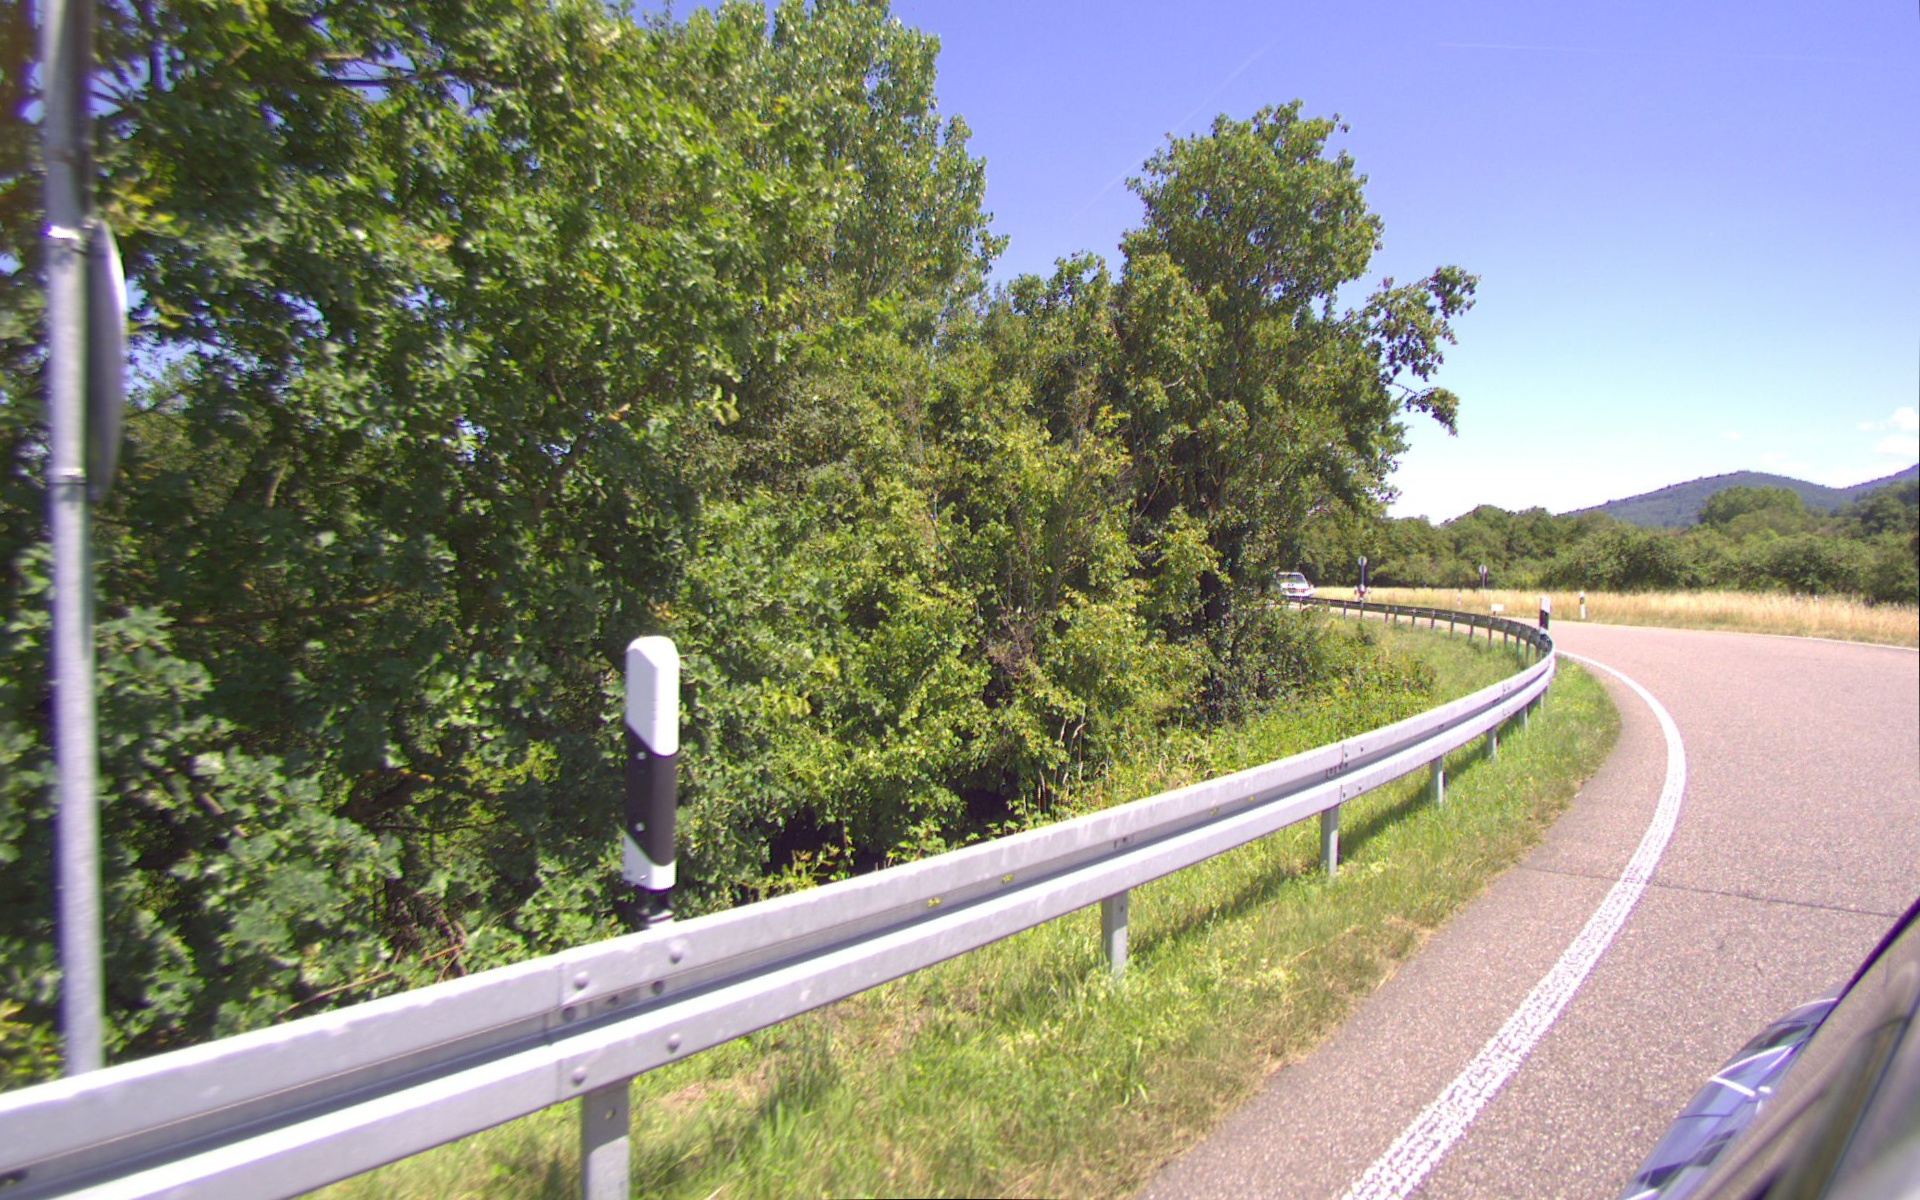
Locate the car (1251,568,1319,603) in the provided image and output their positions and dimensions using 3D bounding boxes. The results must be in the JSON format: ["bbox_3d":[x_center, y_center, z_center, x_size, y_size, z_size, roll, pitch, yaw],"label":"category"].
[{"bbox_3d":[19.897,-0.932,62.198,1.958,2.039,4.454,1,1,-13],"label":"car"}]

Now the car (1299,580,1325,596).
[{"bbox_3d":[46.542,-1.586,133.602,1.989,2.039,4.385,2,1,37],"label":"car"}]
